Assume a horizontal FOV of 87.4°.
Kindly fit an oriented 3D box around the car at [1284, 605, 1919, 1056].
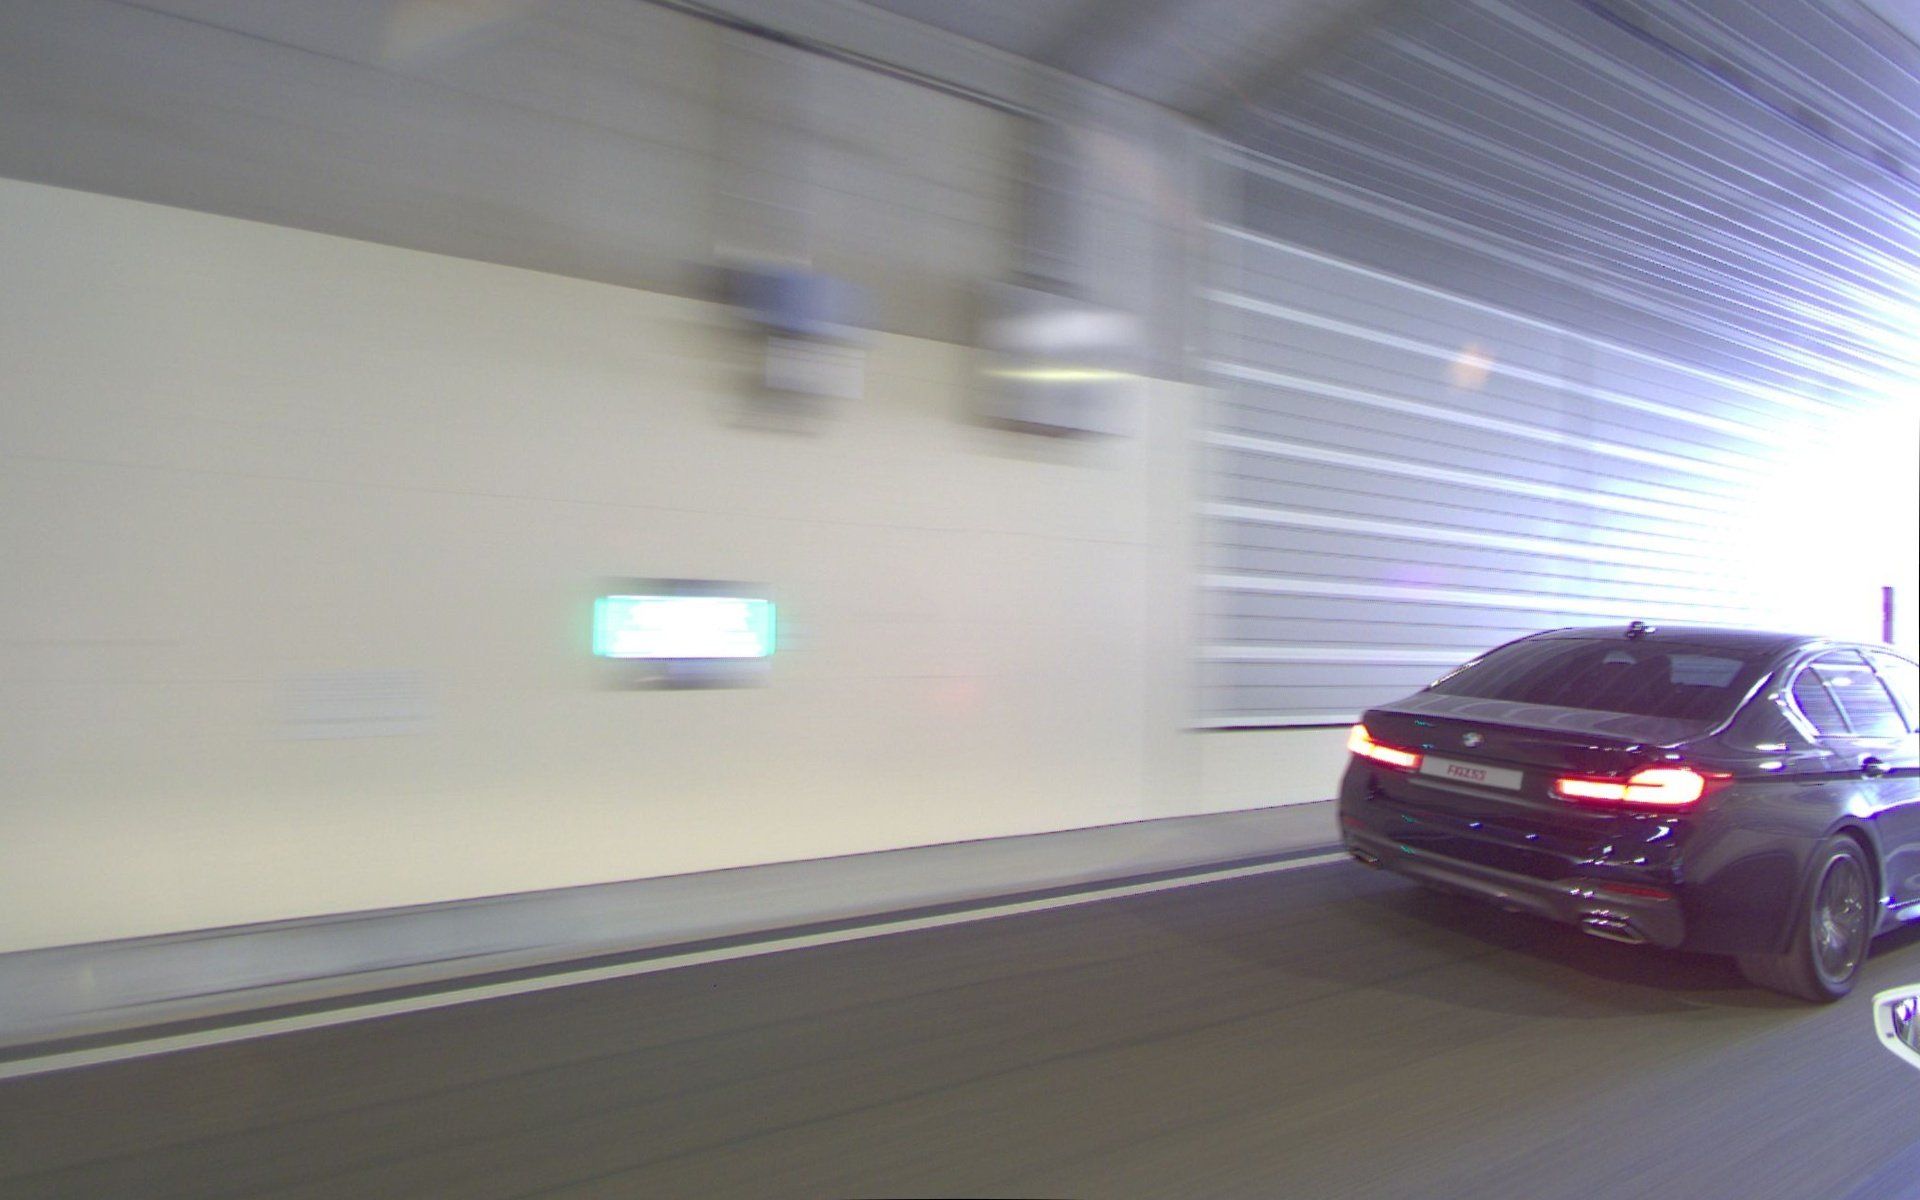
[{"bbox_3d":[4.067,0.840,5.260,4.793,1.441,1.688,2,1,-29],"label":"car"}]
